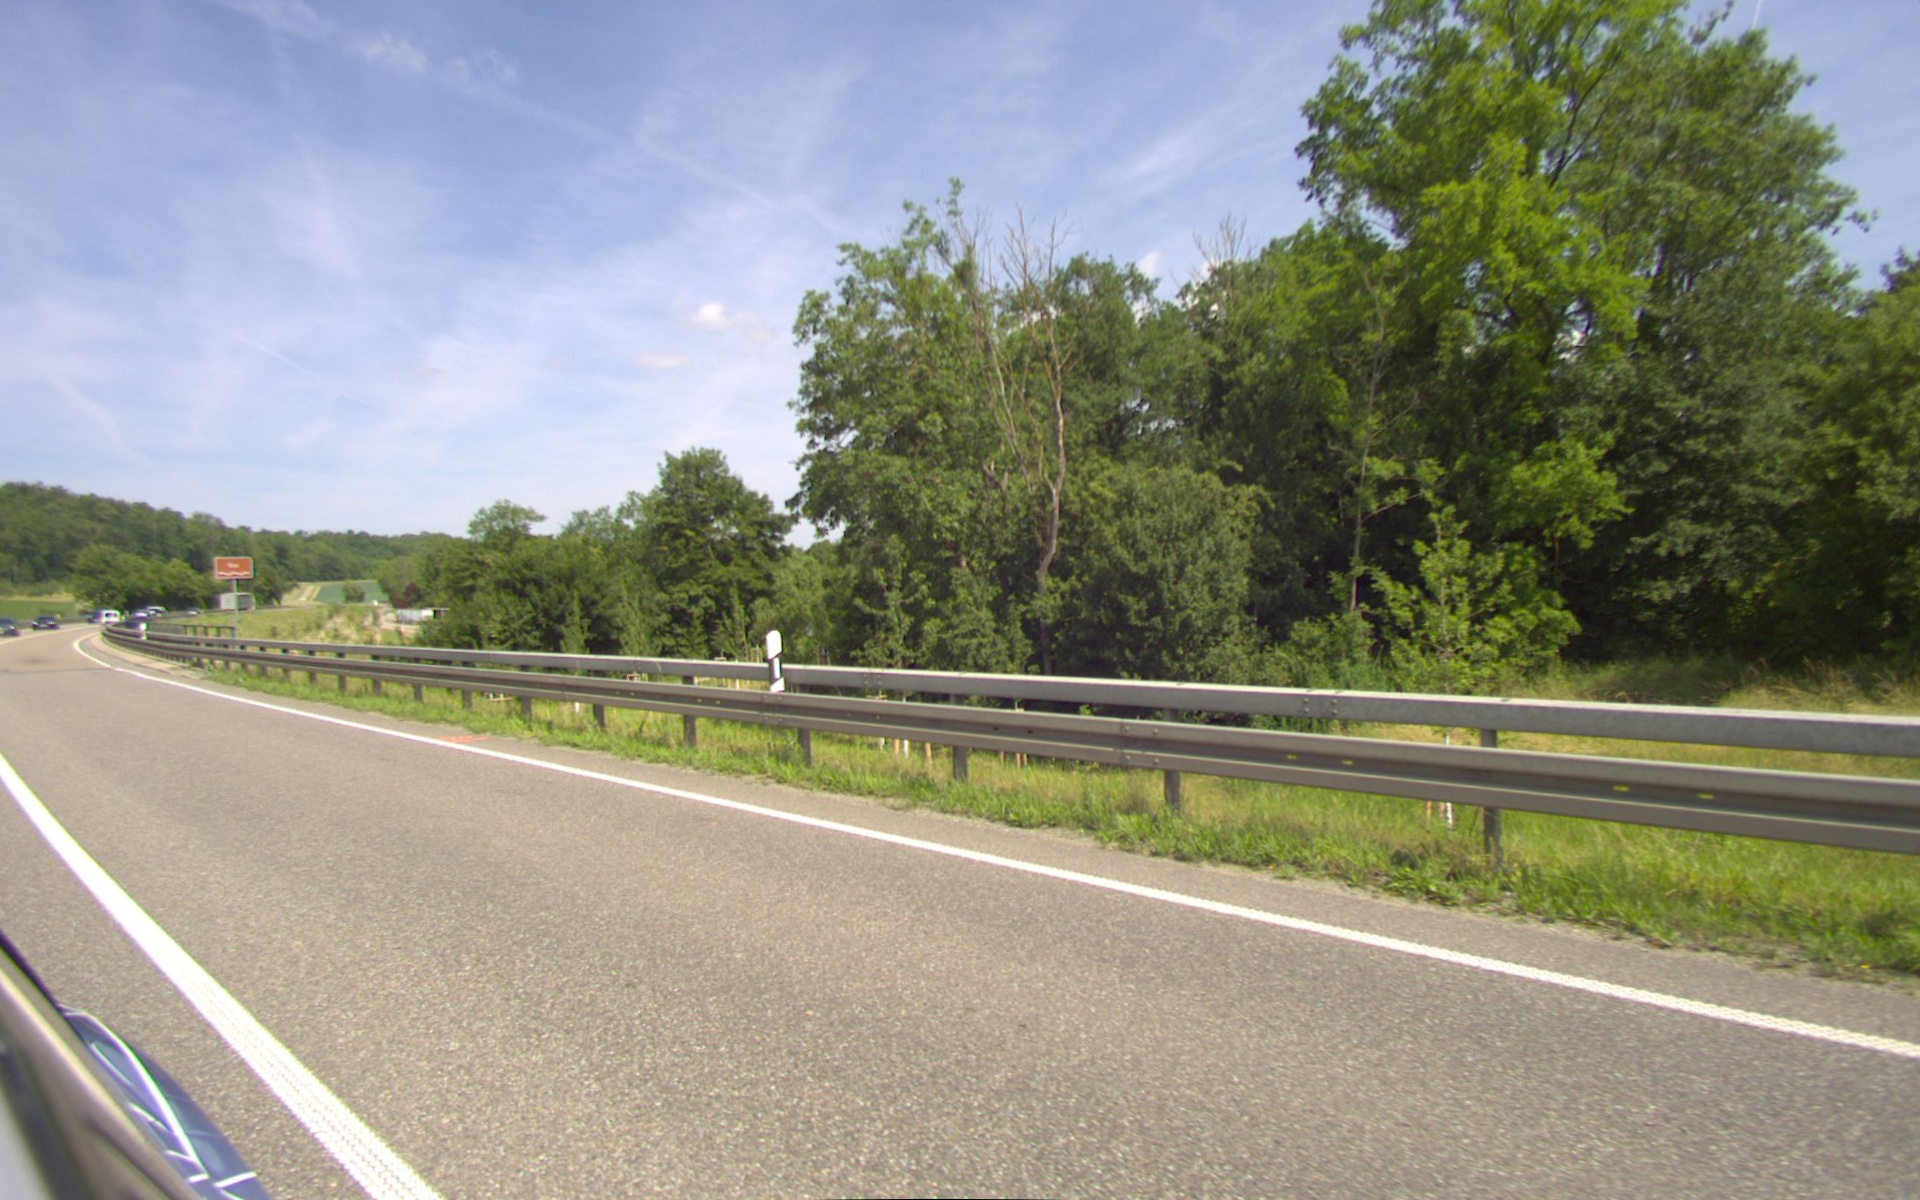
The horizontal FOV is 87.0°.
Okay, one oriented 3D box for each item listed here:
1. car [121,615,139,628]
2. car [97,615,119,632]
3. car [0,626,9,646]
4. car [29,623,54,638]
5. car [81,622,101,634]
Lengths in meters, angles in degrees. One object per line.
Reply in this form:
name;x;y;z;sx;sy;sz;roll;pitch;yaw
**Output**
car;-110.041;2.840;134.200;1.716;1.623;3.815;0;0;-39
car;-92.176;2.515;109.577;1.716;1.788;4.043;0;0;-39
car;-73.405;2.756;76.816;1.718;1.465;4.040;0;0;-43
car;-91.297;3.001;100.602;1.717;1.465;4.042;0;0;-41
car;-110.820;3.549;129.056;1.716;1.465;4.044;0;0;-38
